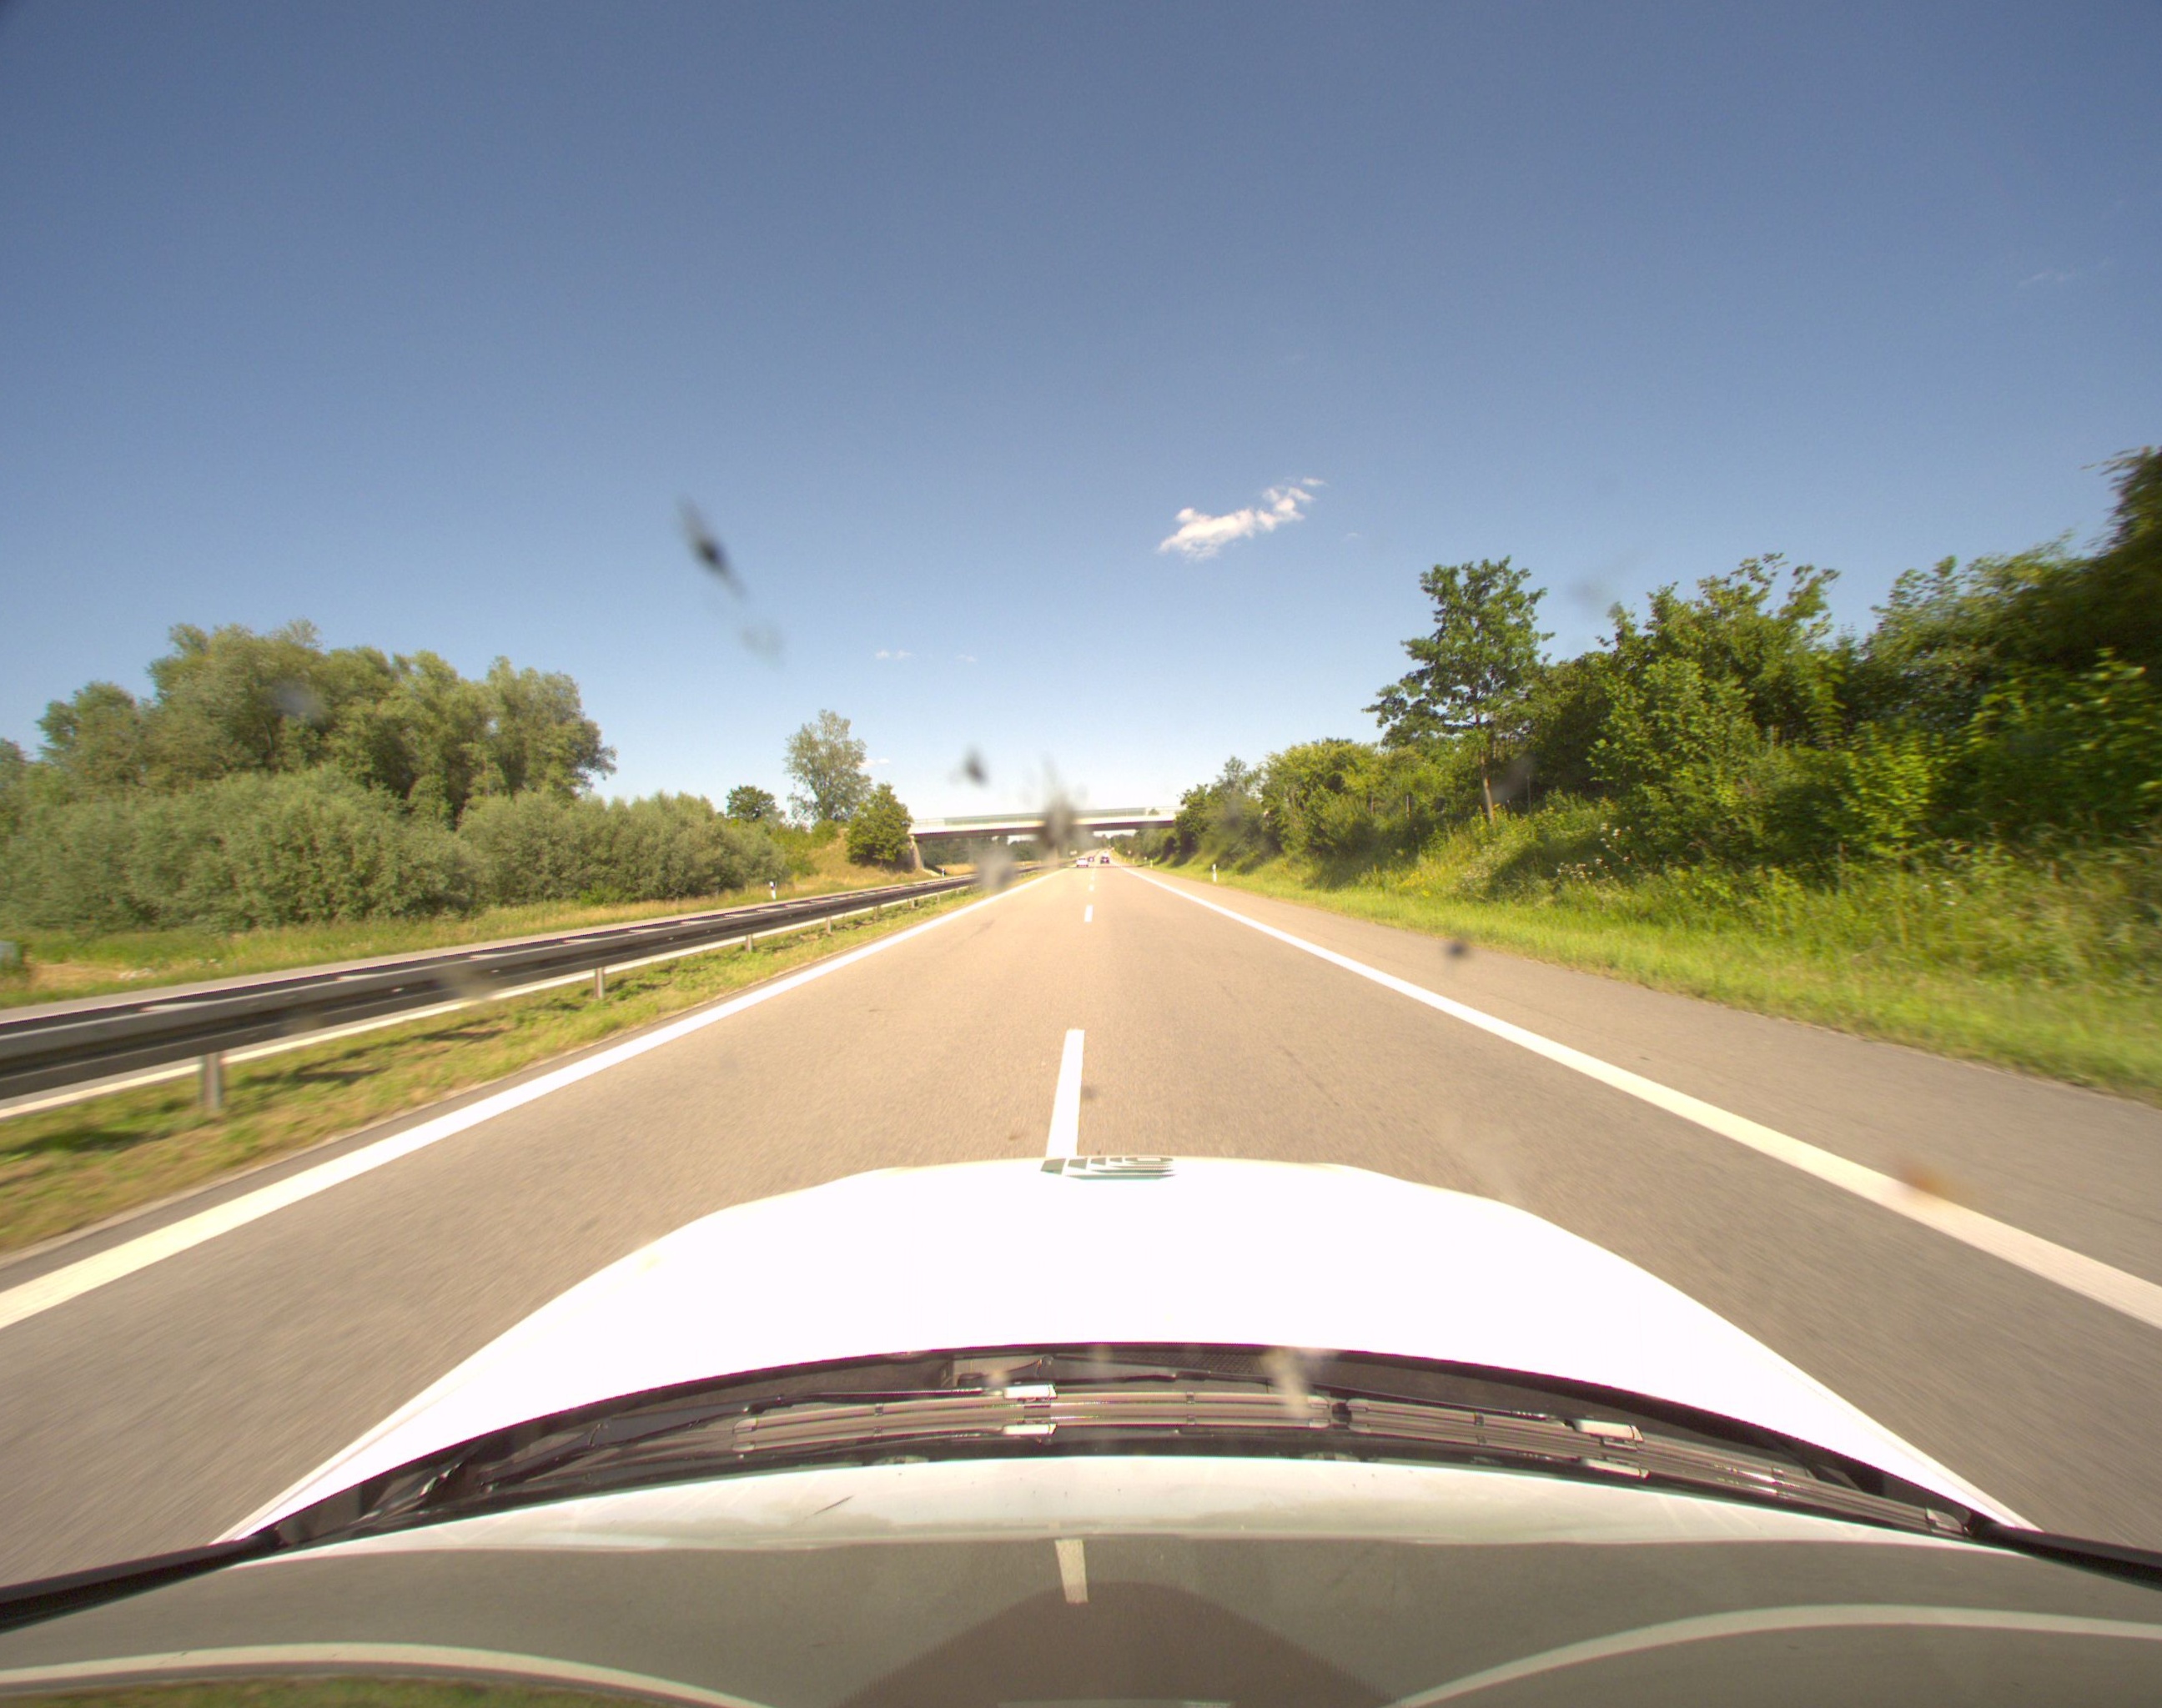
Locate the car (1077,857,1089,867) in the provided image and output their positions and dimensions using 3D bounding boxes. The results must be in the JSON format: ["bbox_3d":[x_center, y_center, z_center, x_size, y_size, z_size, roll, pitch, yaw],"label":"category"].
[{"bbox_3d":[0.323,1.205,124.652,1.836,1.415,4.000,0,0,1],"label":"car"}]

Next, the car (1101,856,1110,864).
[{"bbox_3d":[4.989,1.267,164.748,1.836,1.520,4.000,0,0,1],"label":"car"}]

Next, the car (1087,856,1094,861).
[{"bbox_3d":[2.702,1.404,231.601,1.836,1.436,4.000,0,0,1],"label":"car"}]
